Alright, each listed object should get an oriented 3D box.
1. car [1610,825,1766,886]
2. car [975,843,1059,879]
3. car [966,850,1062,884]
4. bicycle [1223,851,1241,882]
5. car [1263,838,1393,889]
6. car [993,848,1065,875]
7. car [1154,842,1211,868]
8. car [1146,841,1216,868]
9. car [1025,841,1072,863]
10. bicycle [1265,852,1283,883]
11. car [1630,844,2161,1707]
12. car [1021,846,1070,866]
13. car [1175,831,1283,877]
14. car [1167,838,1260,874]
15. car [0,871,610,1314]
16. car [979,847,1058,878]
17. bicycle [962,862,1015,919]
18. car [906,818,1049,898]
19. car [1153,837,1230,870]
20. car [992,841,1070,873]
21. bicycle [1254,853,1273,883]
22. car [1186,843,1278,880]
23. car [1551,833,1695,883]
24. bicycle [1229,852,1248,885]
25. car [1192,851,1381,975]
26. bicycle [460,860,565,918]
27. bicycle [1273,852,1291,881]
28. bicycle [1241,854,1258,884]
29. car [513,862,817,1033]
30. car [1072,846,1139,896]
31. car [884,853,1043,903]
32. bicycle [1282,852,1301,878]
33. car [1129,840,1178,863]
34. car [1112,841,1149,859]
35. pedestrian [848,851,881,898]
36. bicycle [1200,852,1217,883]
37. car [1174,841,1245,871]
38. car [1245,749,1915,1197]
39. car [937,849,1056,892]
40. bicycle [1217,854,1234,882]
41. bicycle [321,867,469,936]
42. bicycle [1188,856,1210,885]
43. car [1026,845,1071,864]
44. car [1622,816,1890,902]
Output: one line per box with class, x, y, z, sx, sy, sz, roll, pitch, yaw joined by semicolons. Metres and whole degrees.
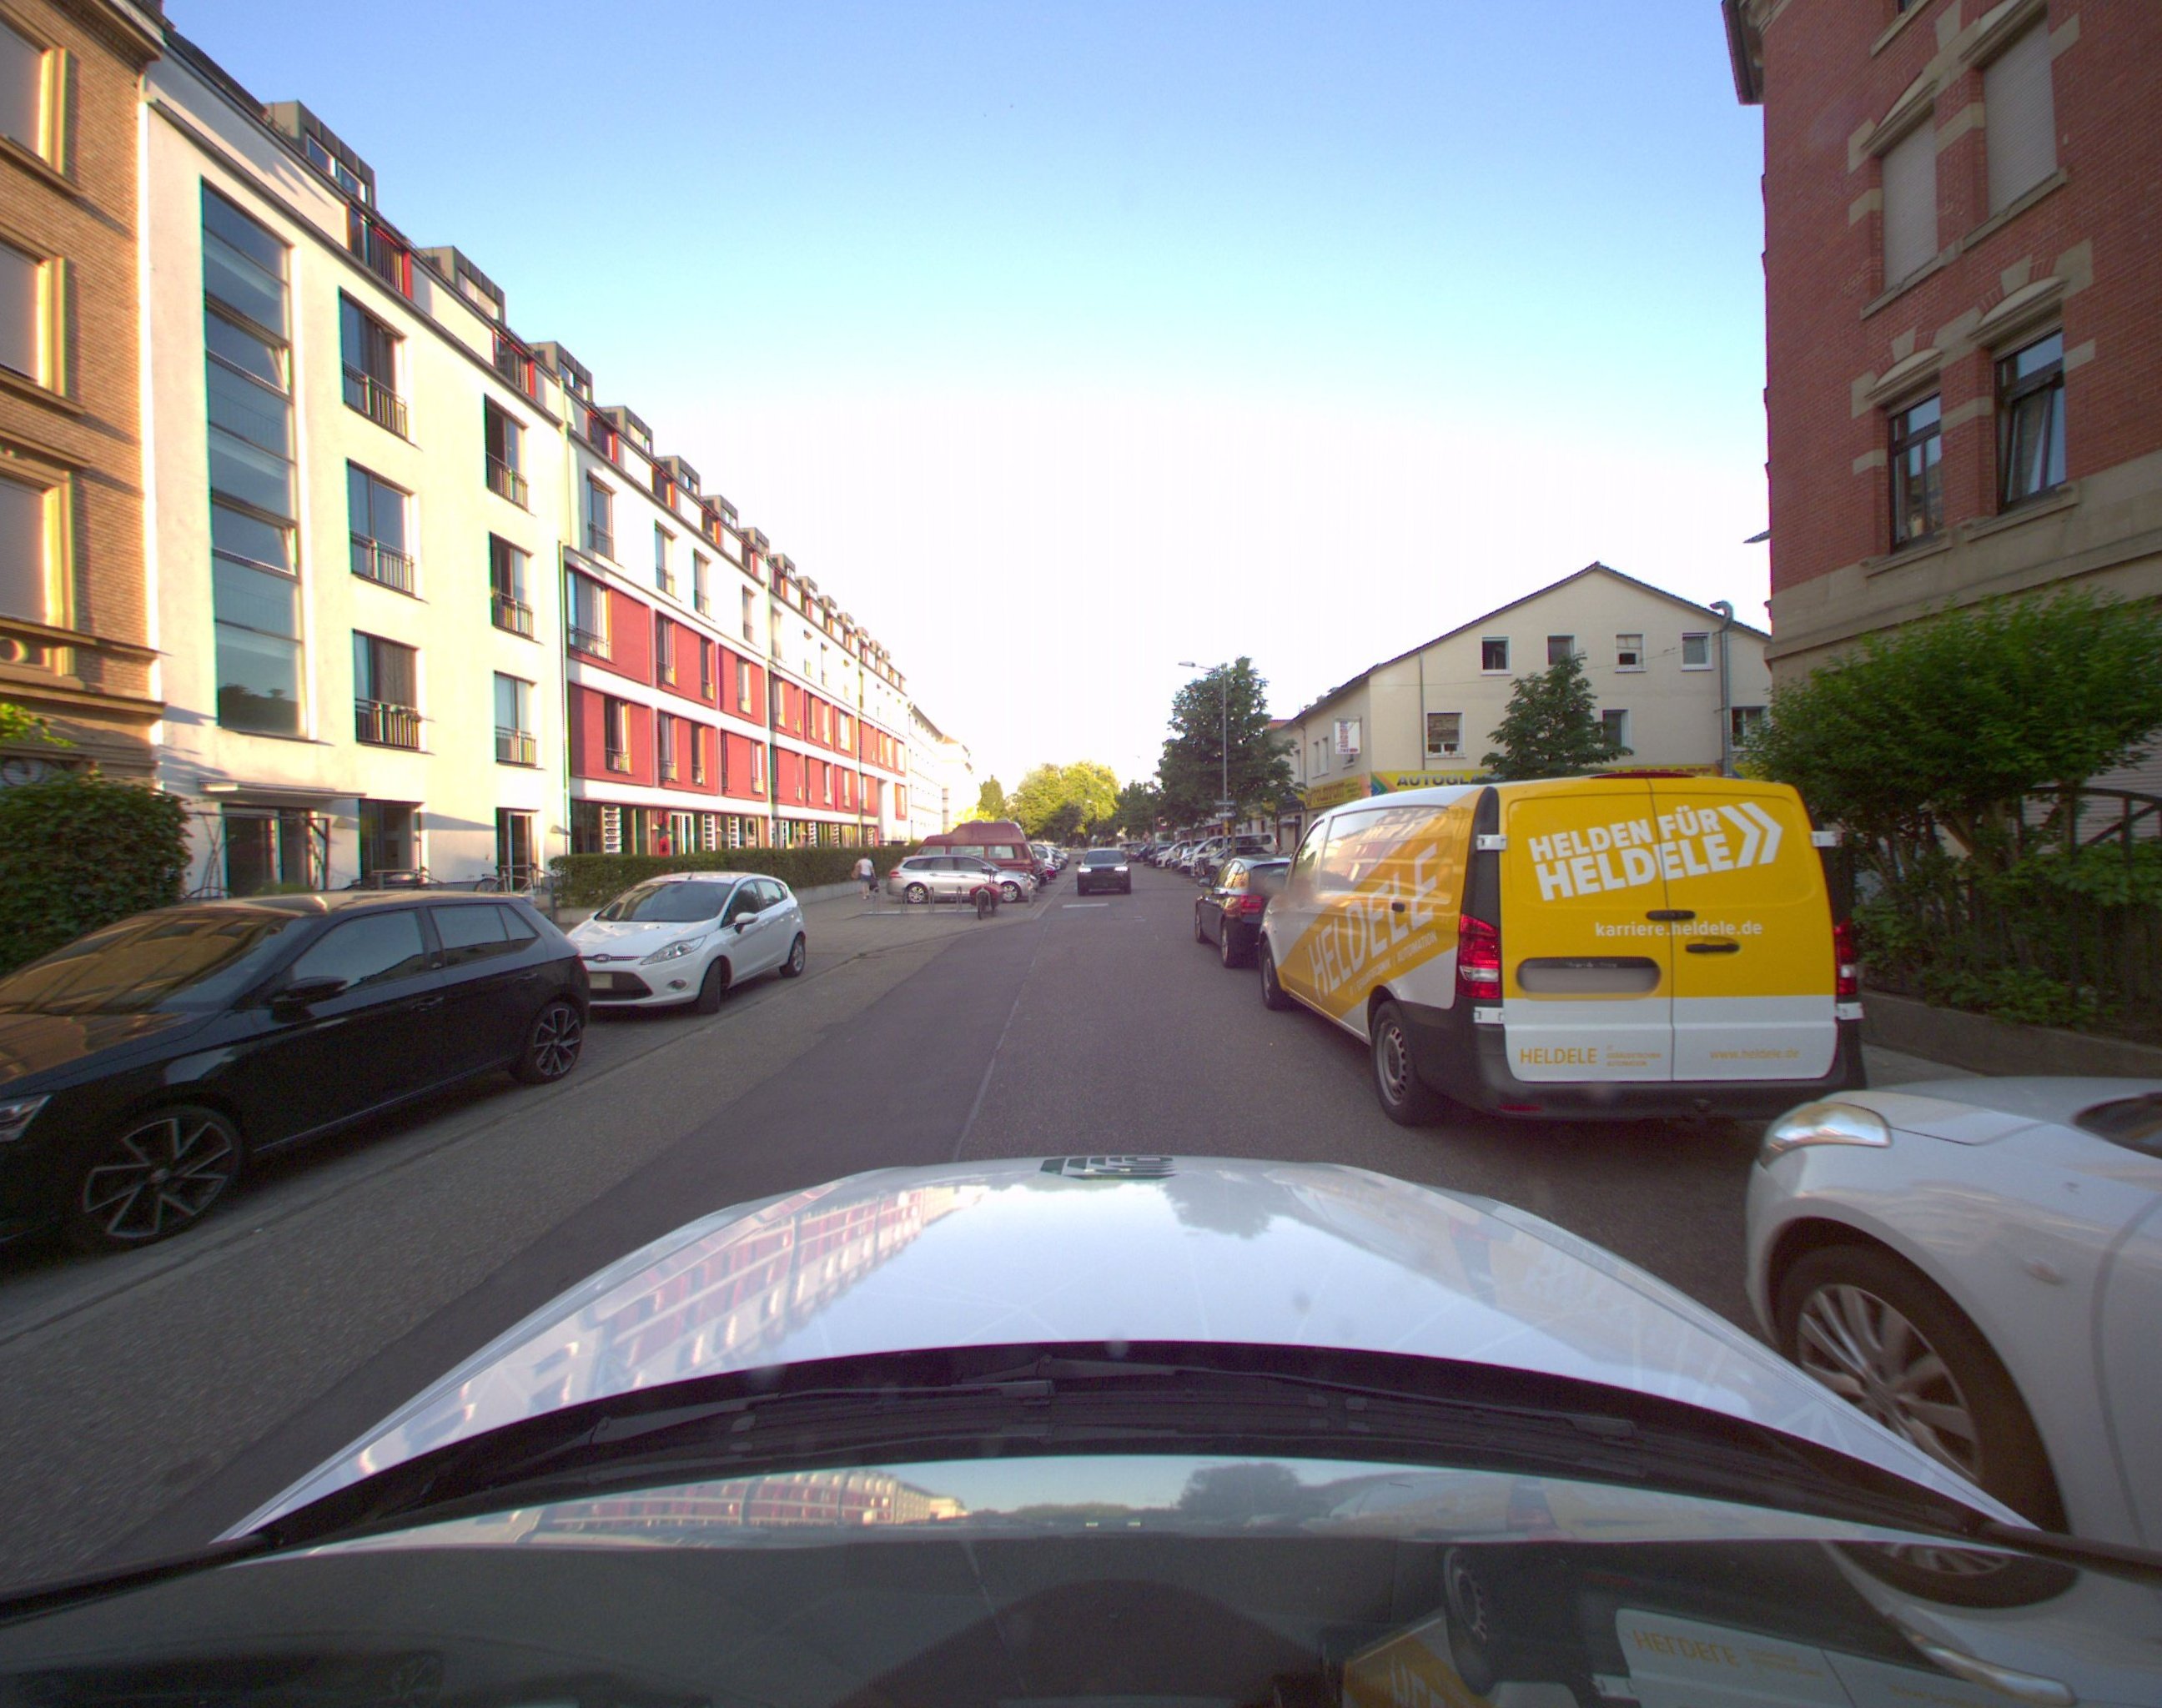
car;20.266;-0.007;27.479;1.866;1.831;4.578;-2;2;0
car;-3.315;0.361;42.994;4.241;1.836;2.001;0;0;1
car;-3.027;0.583;37.568;4.193;1.489;1.850;0;0;1
bicycle;6.281;0.493;33.864;0.384;1.200;2.018;-2;0;2
car;8.594;0.295;28.607;4.035;1.514;1.757;-3;2;2
car;-3.159;0.441;49.823;4.241;1.652;1.888;0;0;1
car;8.165;0.063;65.785;4.304;1.804;1.810;-3;0;-1
car;7.426;0.041;60.888;4.929;1.689;2.076;-3;0;-1
car;-3.195;-0.170;80.893;4.517;2.134;2.001;0;0;1
bicycle;7.964;0.542;33.649;0.351;1.200;1.482;-2;0;2
car;2.507;0.735;0.694;1.667;1.477;3.866;-1;0;4
car;-3.159;0.173;73.482;4.241;1.714;2.001;0;0;1
car;7.315;-0.009;40.774;4.971;1.983;2.221;-3;0;1
car;7.431;0.095;46.119;4.925;1.742;2.050;-3;0;2
car;-4.819;0.934;4.839;1.697;1.534;3.845;-1;0;1
car;-3.441;0.451;45.469;4.241;1.660;2.001;0;0;1
bicycle;-2.161;0.821;19.496;0.804;1.221;2.867;0;0;3
car;-3.398;0.119;27.390;4.493;2.584;2.001;0;0;2
car;7.572;-0.069;56.036;4.929;1.958;2.049;-3;0;-1
car;-3.177;0.200;52.378;4.833;2.021;1.907;0;0;1
bicycle;7.537;0.568;33.665;0.443;1.200;1.482;-2;0;2
car;6.991;0.345;37.993;3.908;1.451;1.767;-3;0;-2
car;18.038;0.108;27.419;1.736;1.509;4.571;-2;0;-1
bicycle;6.546;0.585;33.870;0.384;1.304;2.018;-2;0;2
car;2.692;0.680;11.630;1.715;1.424;4.254;0;0;1
bicycle;-11.705;0.712;16.784;1.768;1.148;0.611;0;0;3
bicycle;8.325;0.519;33.724;0.351;1.143;1.482;-2;0;2
bicycle;6.963;0.609;33.707;0.384;1.200;1.482;-2;0;2
car;-4.627;0.914;9.808;1.646;1.530;4.015;-1;0;-1
car;0.923;0.518;27.941;1.769;1.517;4.010;-3;0;9
car;-3.482;0.706;24.815;4.604;1.460;1.879;0;0;-3
bicycle;8.727;0.451;33.763;0.386;1.017;1.482;-2;0;2
car;6.968;-0.276;78.382;4.470;1.911;1.685;-3;0;-4
car;5.713;-0.471;94.002;3.960;1.911;2.047;-3;0;-4
pedestrian;-6.940;0.654;26.181;0.829;1.501;0.798;0;0;1
bicycle;5.289;0.552;33.861;0.384;1.200;2.018;-2;0;2
car;7.645;0.089;48.750;3.897;1.526;1.940;-3;0;2
car;2.641;0.485;6.008;1.887;1.884;5.083;-1;0;1
car;-3.028;0.586;29.956;4.196;1.538;1.790;0;0;-1
bicycle;5.999;0.561;33.882;0.384;1.114;2.018;-2;0;2
bicycle;-11.894;0.808;14.162;1.908;1.141;0.812;0;0;1
bicycle;4.871;0.645;33.681;0.437;1.130;2.014;-3;0;-4
car;-3.105;0.002;78.254;4.241;1.749;2.001;0;1;1
car;14.631;0.119;17.842;4.306;1.672;1.878;-2;-1;-1
